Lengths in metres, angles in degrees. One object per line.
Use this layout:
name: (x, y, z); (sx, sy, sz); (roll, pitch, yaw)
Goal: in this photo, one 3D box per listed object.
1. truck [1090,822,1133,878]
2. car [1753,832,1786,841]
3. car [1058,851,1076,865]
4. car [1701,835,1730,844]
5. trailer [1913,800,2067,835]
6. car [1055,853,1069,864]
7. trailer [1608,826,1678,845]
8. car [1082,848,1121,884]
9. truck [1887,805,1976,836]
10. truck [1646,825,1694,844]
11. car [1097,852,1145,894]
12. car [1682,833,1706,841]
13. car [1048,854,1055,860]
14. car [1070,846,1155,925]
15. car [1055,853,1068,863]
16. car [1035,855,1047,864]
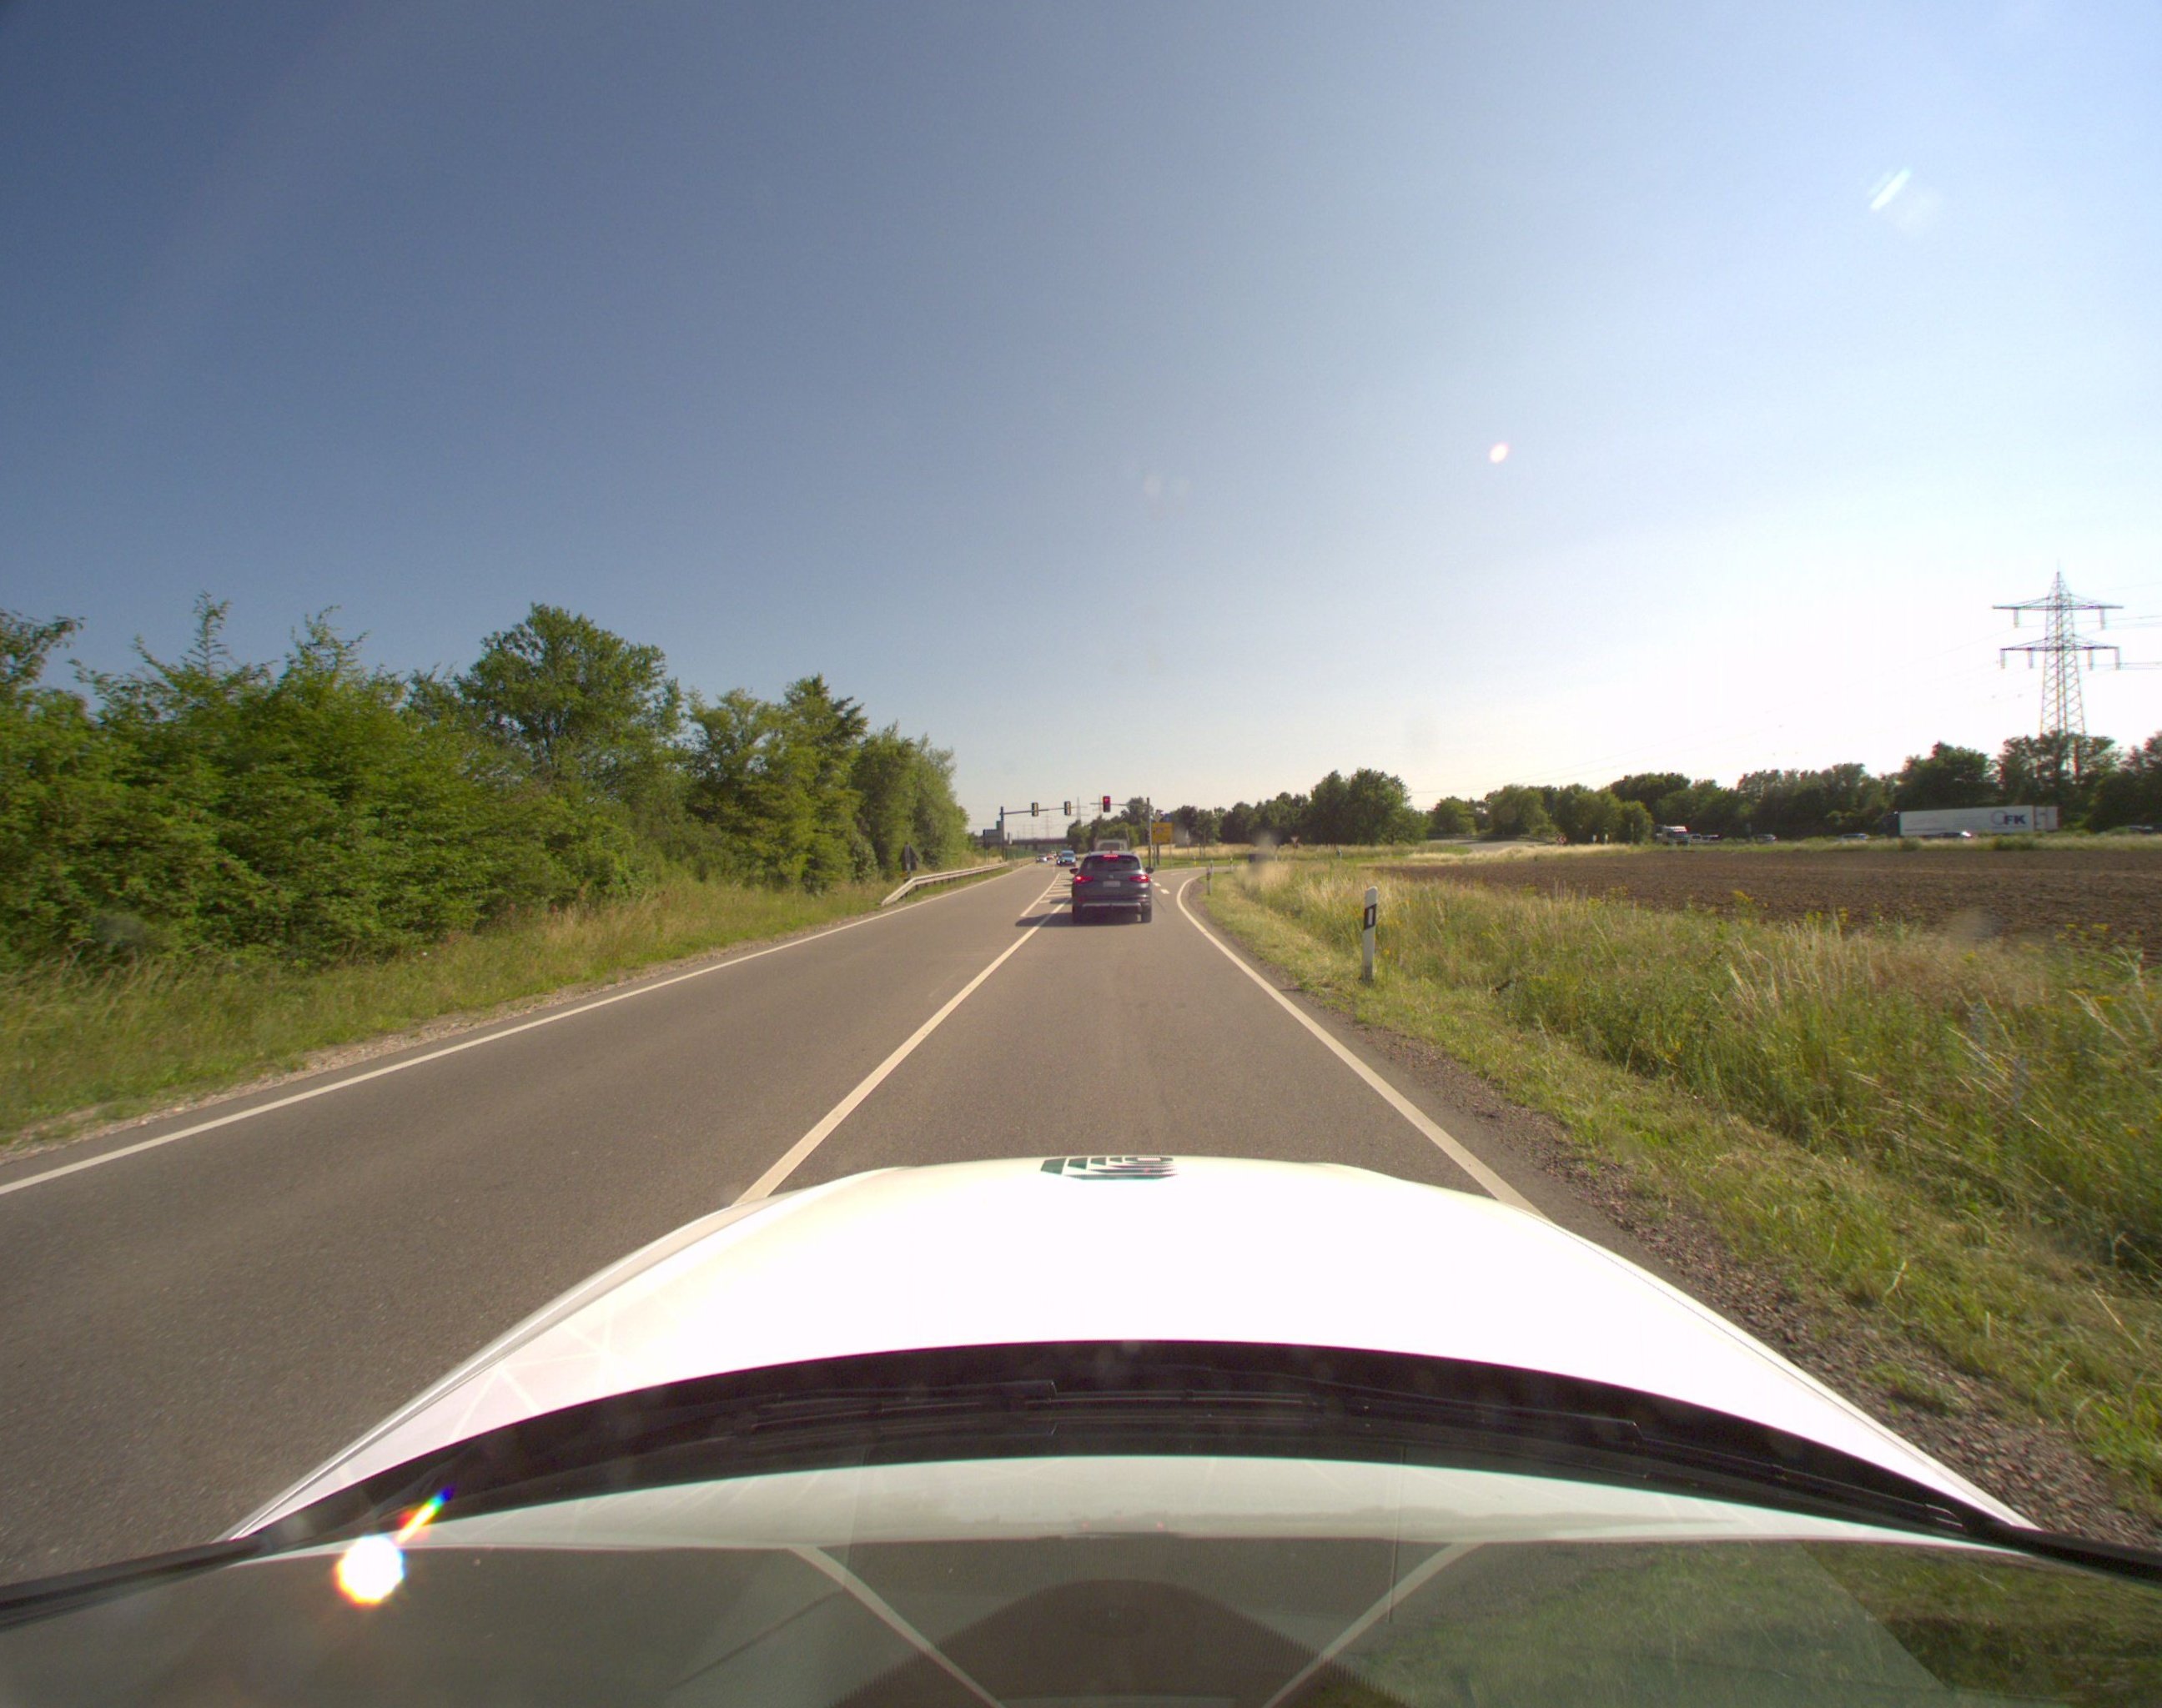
truck: (1.771, -0.197, 48.013); (2.328, 3.066, 5.812); (-1, 0, 2)
car: (93.667, -2.365, 110.777); (1.391, 1.151, 3.580); (0, 1, -1)
car: (-1.577, 0.441, 91.967); (1.812, 1.540, 3.996); (-2, 0, -3)
car: (100.175, -2.284, 128.663); (1.765, 1.372, 3.625); (0, 0, 1)
trailer: (101.401, -3.970, 91.370); (3.274, 3.267, 12.453); (-2, 0, 0)
car: (-2.428, 0.545, 104.455); (1.680, 1.380, 3.530); (-1, 0, -2)
trailer: (100.530, -3.231, 146.053); (3.274, 3.267, 13.451); (-2, 1, 0)
car: (0.976, 0.550, 40.313); (1.779, 1.675, 4.000); (-1, 0, 0)
truck: (101.381, -3.965, 97.235); (3.274, 3.267, 6.977); (-2, 0, 0)
truck: (81.592, -2.692, 112.953); (2.505, 2.531, 5.534); (-2, 0, 0)
car: (1.560, 0.703, 33.147); (1.779, 1.543, 4.000); (-1, 0, 0)
car: (93.706, -2.572, 124.549); (1.390, 1.151, 3.182); (0, 1, 1)
car: (-7.506, 0.715, 207.509); (1.758, 1.334, 3.995); (-2, 0, -3)
car: (0.696, 0.661, 19.361); (1.779, 1.629, 4.000); (-1, 0, 1)
car: (-2.678, 0.533, 111.945); (1.680, 1.380, 3.530); (-1, 0, -2)
car: (-6.586, 0.909, 133.496); (1.820, 1.431, 3.995); (-2, 0, -3)
